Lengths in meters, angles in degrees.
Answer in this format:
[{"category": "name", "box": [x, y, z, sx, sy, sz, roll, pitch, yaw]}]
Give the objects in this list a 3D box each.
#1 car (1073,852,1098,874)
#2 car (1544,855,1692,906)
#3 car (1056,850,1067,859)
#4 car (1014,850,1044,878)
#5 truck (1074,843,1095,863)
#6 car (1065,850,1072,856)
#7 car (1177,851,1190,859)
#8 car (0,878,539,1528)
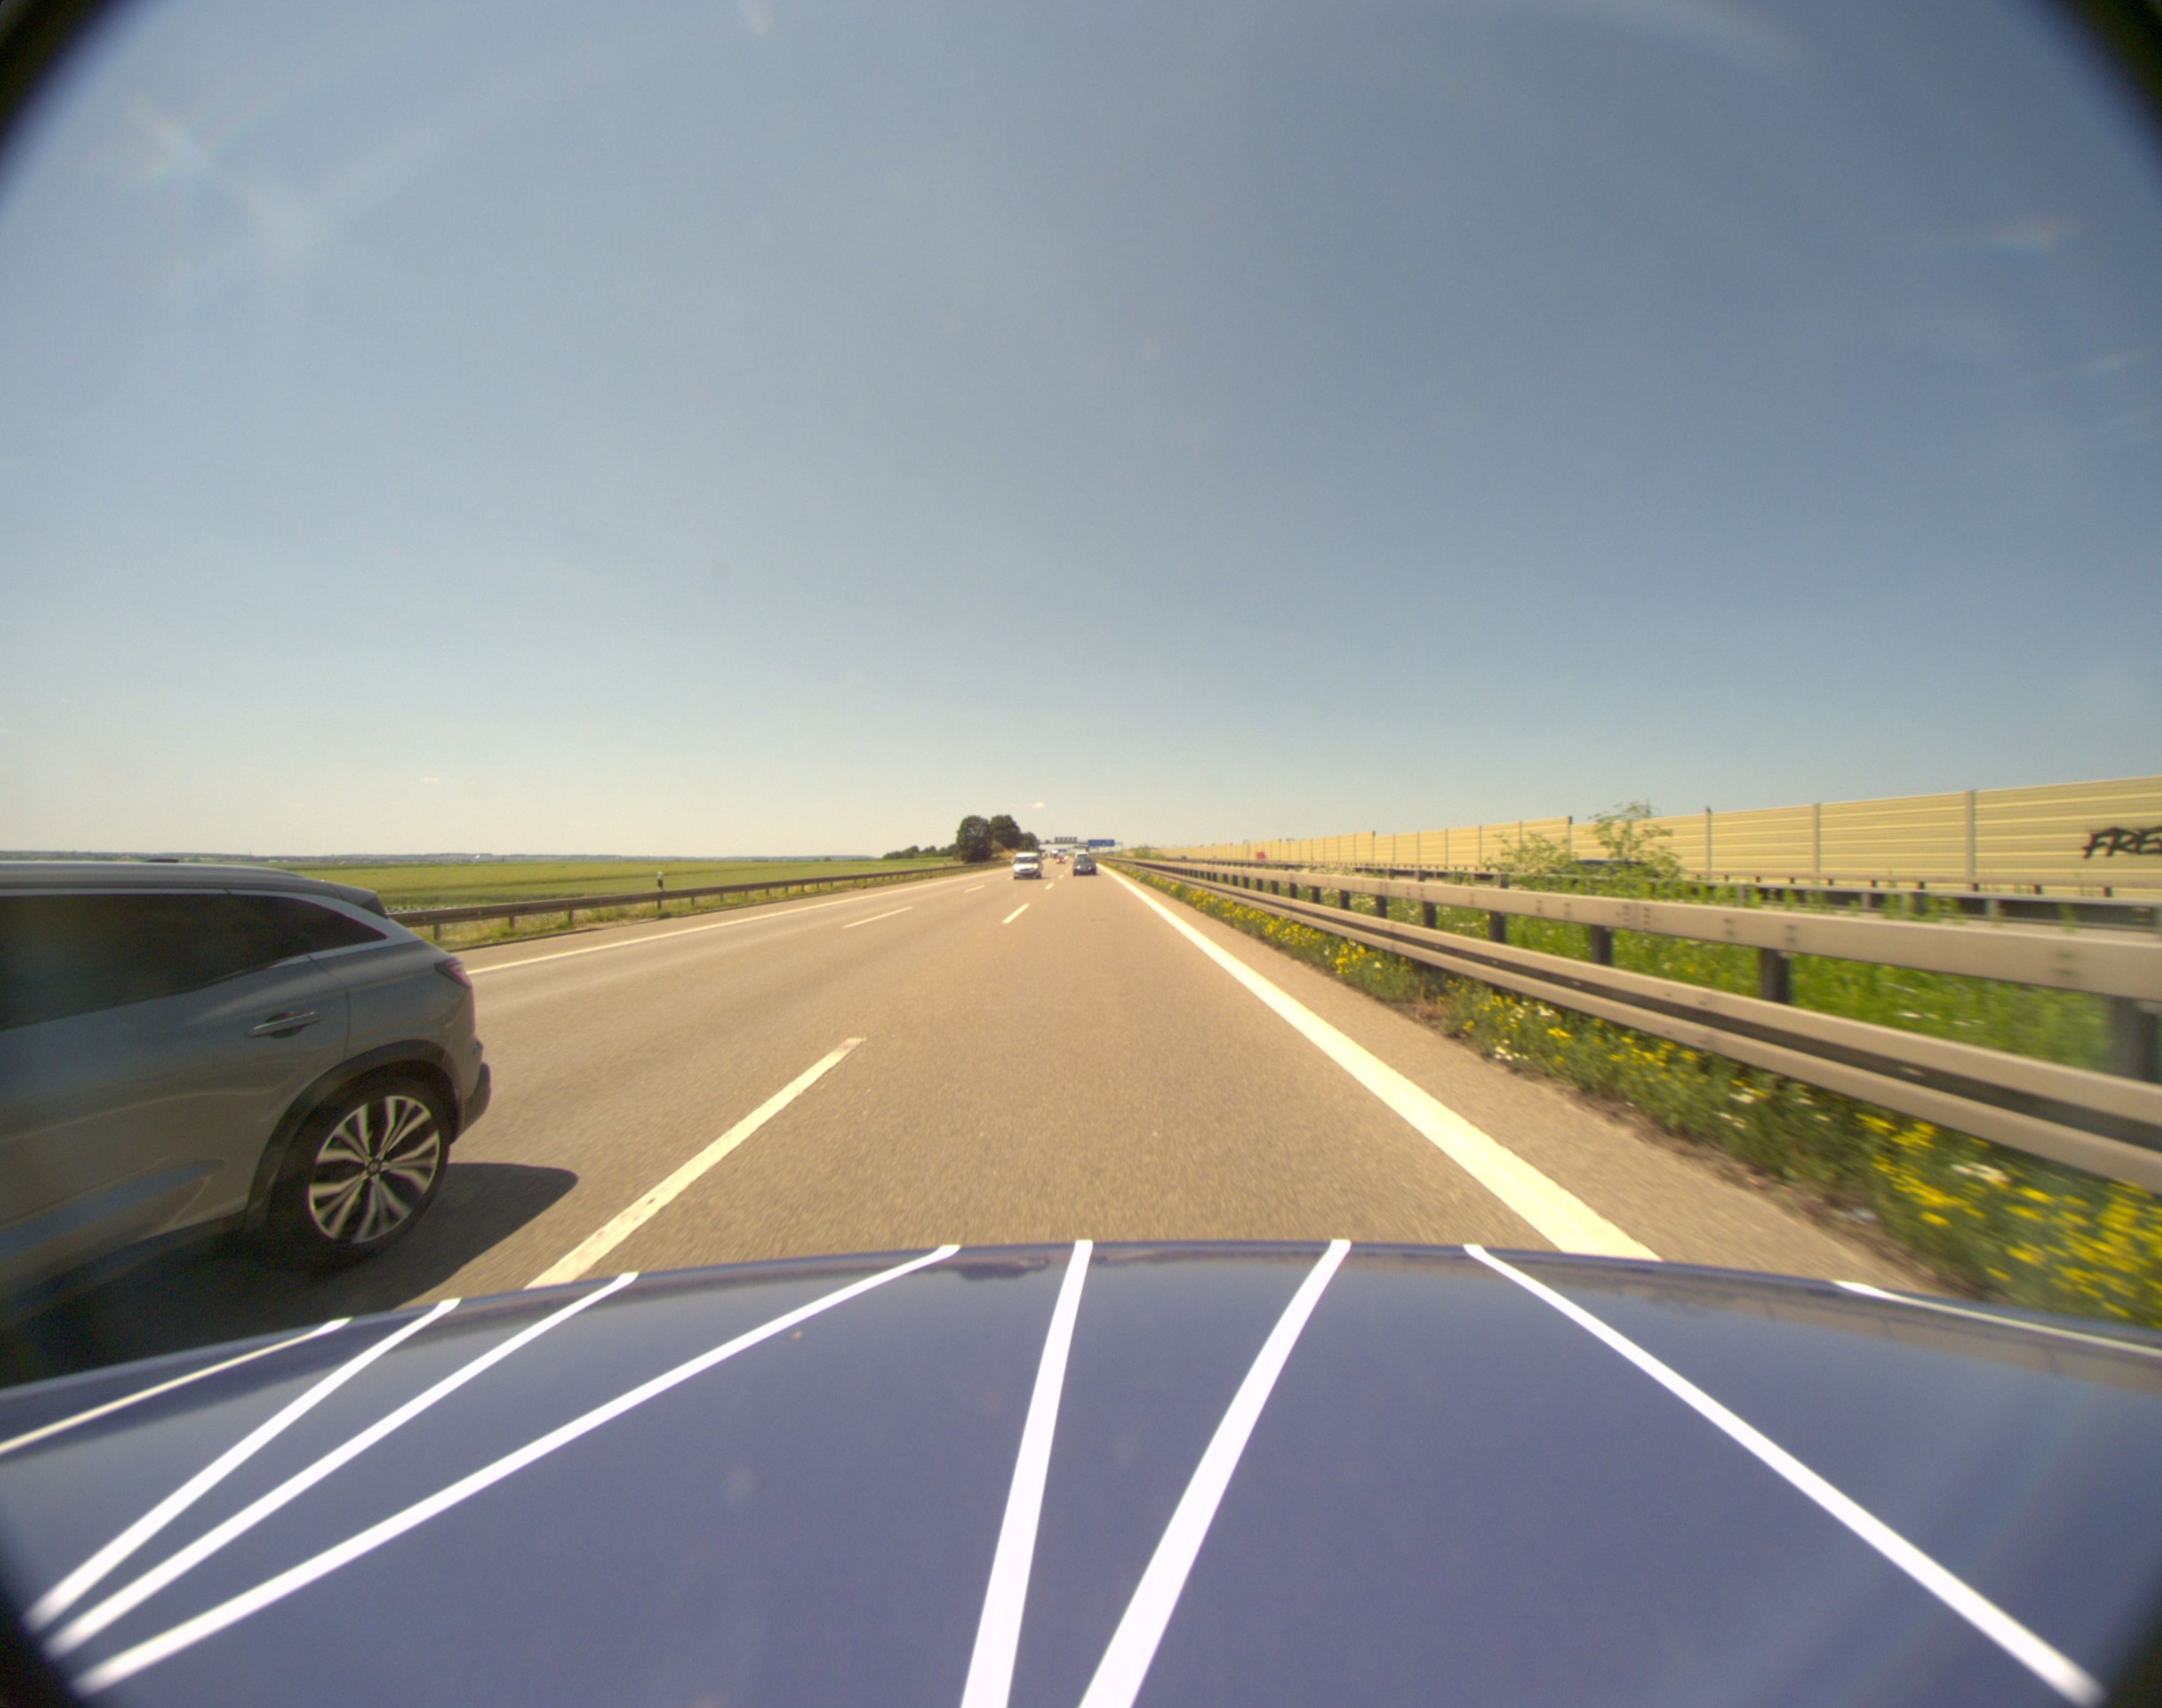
[{"category": "car", "box": [0.292, 0.632, 58.140, 1.715, 1.586, 4.546, -1, 0, -1]}, {"category": "car", "box": [17.296, 0.806, 24.736, 1.998, 1.412, 4.000, -2, 1, 0]}, {"category": "car", "box": [-3.664, 0.045, 142.318, 1.723, 1.514, 3.581, -3, 1, 1]}, {"category": "car", "box": [-3.636, 0.674, 53.663, 1.812, 1.836, 5.311, -2, 0, -1]}, {"category": "truck", "box": [0.406, -0.179, 97.215, 2.334, 2.378, 6.685, -3, 1, -1]}, {"category": "car", "box": [-3.303, -0.178, 205.629, 1.723, 1.514, 3.581, -3, 1, -1]}, {"category": "car", "box": [18.789, 0.120, 139.496, 1.723, 1.401, 4.484, -3, 1, 0]}, {"category": "car", "box": [-3.779, 0.968, 1.625, 1.856, 1.639, 4.644, -1, 0, 0]}]
